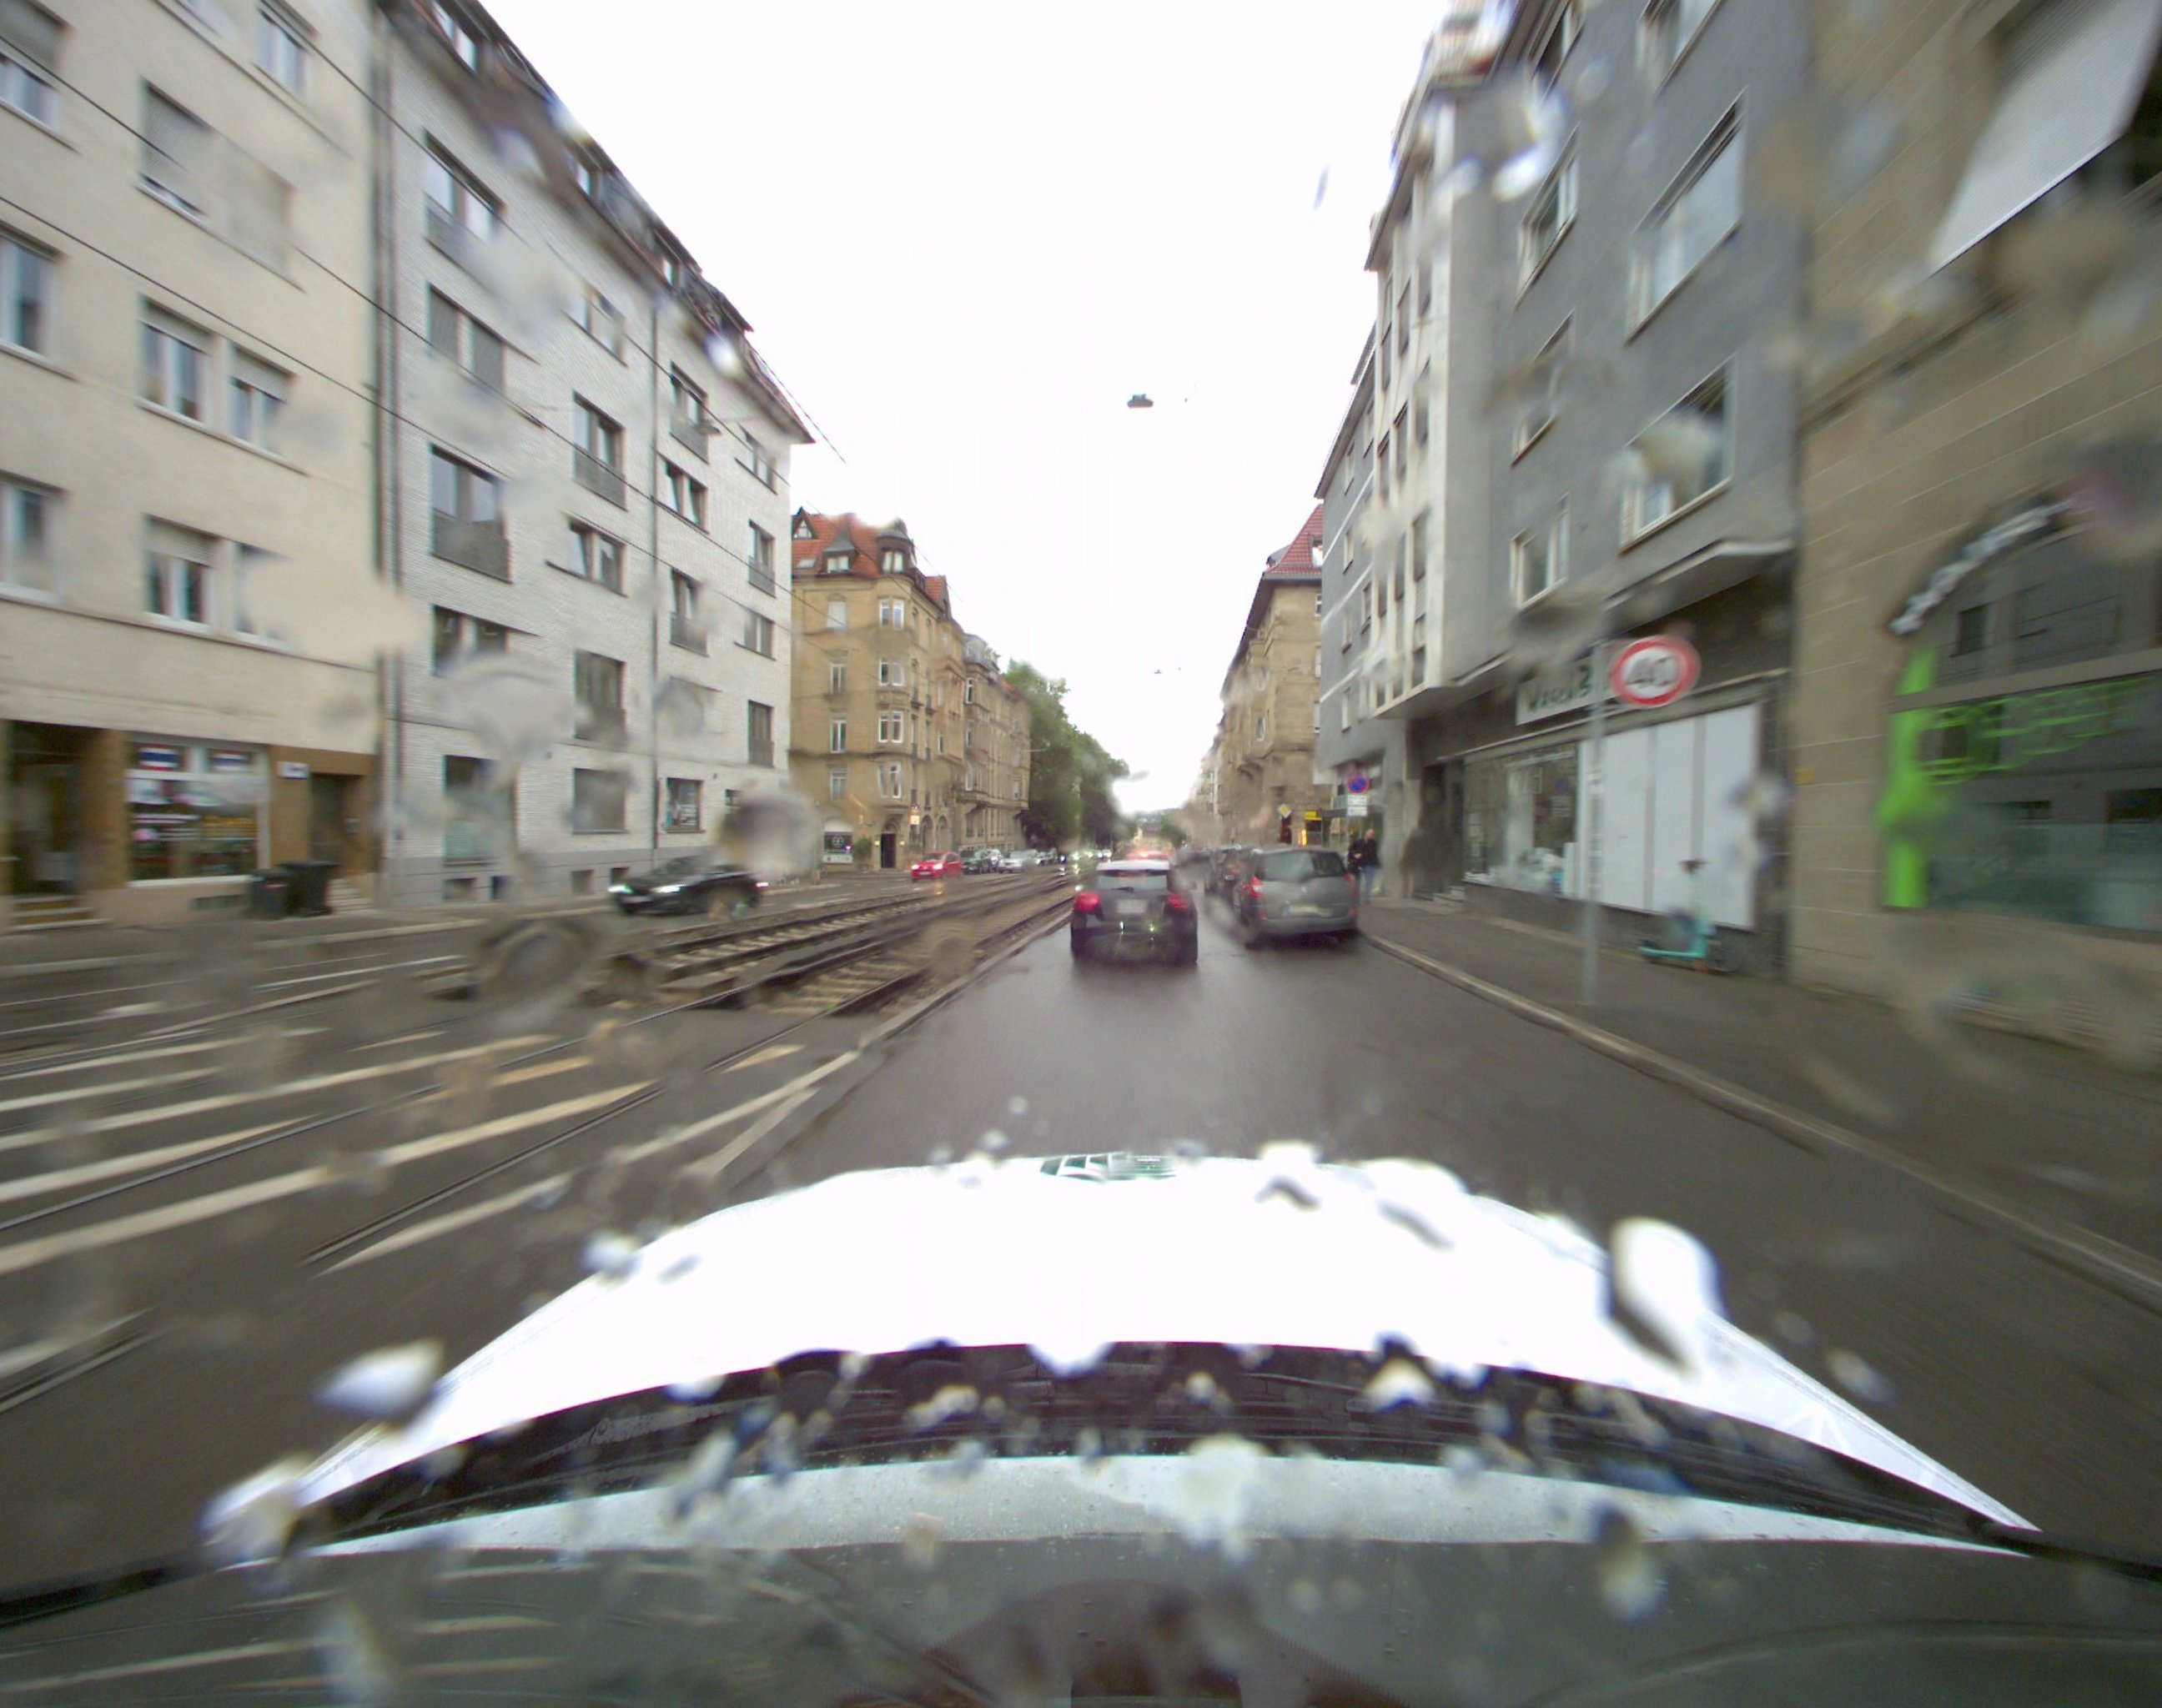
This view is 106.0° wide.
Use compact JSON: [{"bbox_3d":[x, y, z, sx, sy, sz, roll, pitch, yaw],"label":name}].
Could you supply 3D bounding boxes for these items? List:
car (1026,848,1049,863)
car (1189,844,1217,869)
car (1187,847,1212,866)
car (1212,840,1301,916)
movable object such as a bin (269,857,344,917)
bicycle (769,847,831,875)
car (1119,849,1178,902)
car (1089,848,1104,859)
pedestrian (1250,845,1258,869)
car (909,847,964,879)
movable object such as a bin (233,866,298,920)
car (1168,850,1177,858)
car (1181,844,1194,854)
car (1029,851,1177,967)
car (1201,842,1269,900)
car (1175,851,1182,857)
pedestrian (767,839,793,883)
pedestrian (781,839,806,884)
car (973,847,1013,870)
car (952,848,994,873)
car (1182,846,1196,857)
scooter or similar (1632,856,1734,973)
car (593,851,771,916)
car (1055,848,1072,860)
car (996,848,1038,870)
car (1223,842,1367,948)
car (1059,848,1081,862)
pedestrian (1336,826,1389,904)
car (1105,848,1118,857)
[{"bbox_3d":[-4.243,0.111,79.558,1.560,1.413,3.489,-1,0,8],"label":"car"},{"bbox_3d":[7.806,0.133,52.351,1.613,1.484,4.007,-1,0,6],"label":"car"},{"bbox_3d":[8.388,0.165,57.678,1.605,1.317,4.007,-1,0,6],"label":"car"},{"bbox_3d":[4.264,0.524,20.331,1.674,1.670,4.129,-1,0,5],"label":"car"},{"bbox_3d":[-14.731,0.613,15.506,0.709,1.074,0.688,3,1,6],"label":"movable object such as a bin"},{"bbox_3d":[-16.483,0.410,47.844,3.141,1.584,1.595,-1,0,-6],"label":"bicycle"},{"bbox_3d":[2.089,0.586,24.796,1.641,1.452,4.007,1,1,6],"label":"car"},{"bbox_3d":[2.117,-0.129,109.350,1.560,1.413,3.489,-1,0,8],"label":"car"},{"bbox_3d":[10.469,0.172,49.285,0.452,1.466,0.611,0,0,6],"label":"pedestrian"},{"bbox_3d":[-7.109,0.419,40.388,1.671,1.497,3.527,-1,0,8],"label":"car"},{"bbox_3d":[-14.883,0.701,14.874,0.591,0.911,0.561,3,1,6],"label":"movable object such as a bin"},{"bbox_3d":[17.033,-0.033,150.843,1.605,1.317,4.007,-1,0,6],"label":"car"},{"bbox_3d":[14.155,-0.646,108.609,1.605,1.317,4.007,-1,0,6],"label":"car"},{"bbox_3d":[0.514,0.706,12.694,1.856,1.452,4.009,1,1,8],"label":"car"},{"bbox_3d":[4.777,0.469,25.820,1.741,1.670,4.712,-1,0,6],"label":"car"},{"bbox_3d":[22.335,-0.045,187.269,1.605,1.317,4.007,-1,0,6],"label":"car"},{"bbox_3d":[-12.419,0.307,33.597,0.637,1.787,0.925,-1,-1,5],"label":"pedestrian"},{"bbox_3d":[-11.777,0.312,33.388,0.626,1.787,0.883,-1,-1,5],"label":"pedestrian"},{"bbox_3d":[-6.366,0.281,59.297,1.796,1.597,4.536,-1,0,8],"label":"car"},{"bbox_3d":[-7.092,0.383,53.813,1.712,1.541,3.943,-1,0,8],"label":"car"},{"bbox_3d":[13.399,-0.268,101.047,1.605,1.317,4.007,-1,0,6],"label":"car"},{"bbox_3d":[6.719,0.643,9.138,0.393,1.216,1.108,0,1,4],"label":"scooter or similar"},{"bbox_3d":[-9.753,0.657,20.346,1.938,1.396,4.282,-1,0,7],"label":"car"},{"bbox_3d":[-2.113,0.005,98.272,1.560,1.413,3.489,-1,0,8],"label":"car"},{"bbox_3d":[-4.276,0.315,54.902,1.796,1.360,4.774,-1,0,8],"label":"car"},{"bbox_3d":[3.556,0.590,14.349,1.756,1.559,4.754,-1,0,6],"label":"car"},{"bbox_3d":[-1.067,0.077,82.815,1.685,1.388,3.489,-1,0,8],"label":"car"},{"bbox_3d":[6.483,0.244,18.819,0.941,1.769,1.016,0,0,4],"label":"pedestrian"},{"bbox_3d":[4.762,-0.255,125.959,1.560,1.413,3.489,-1,0,8],"label":"car"}]
